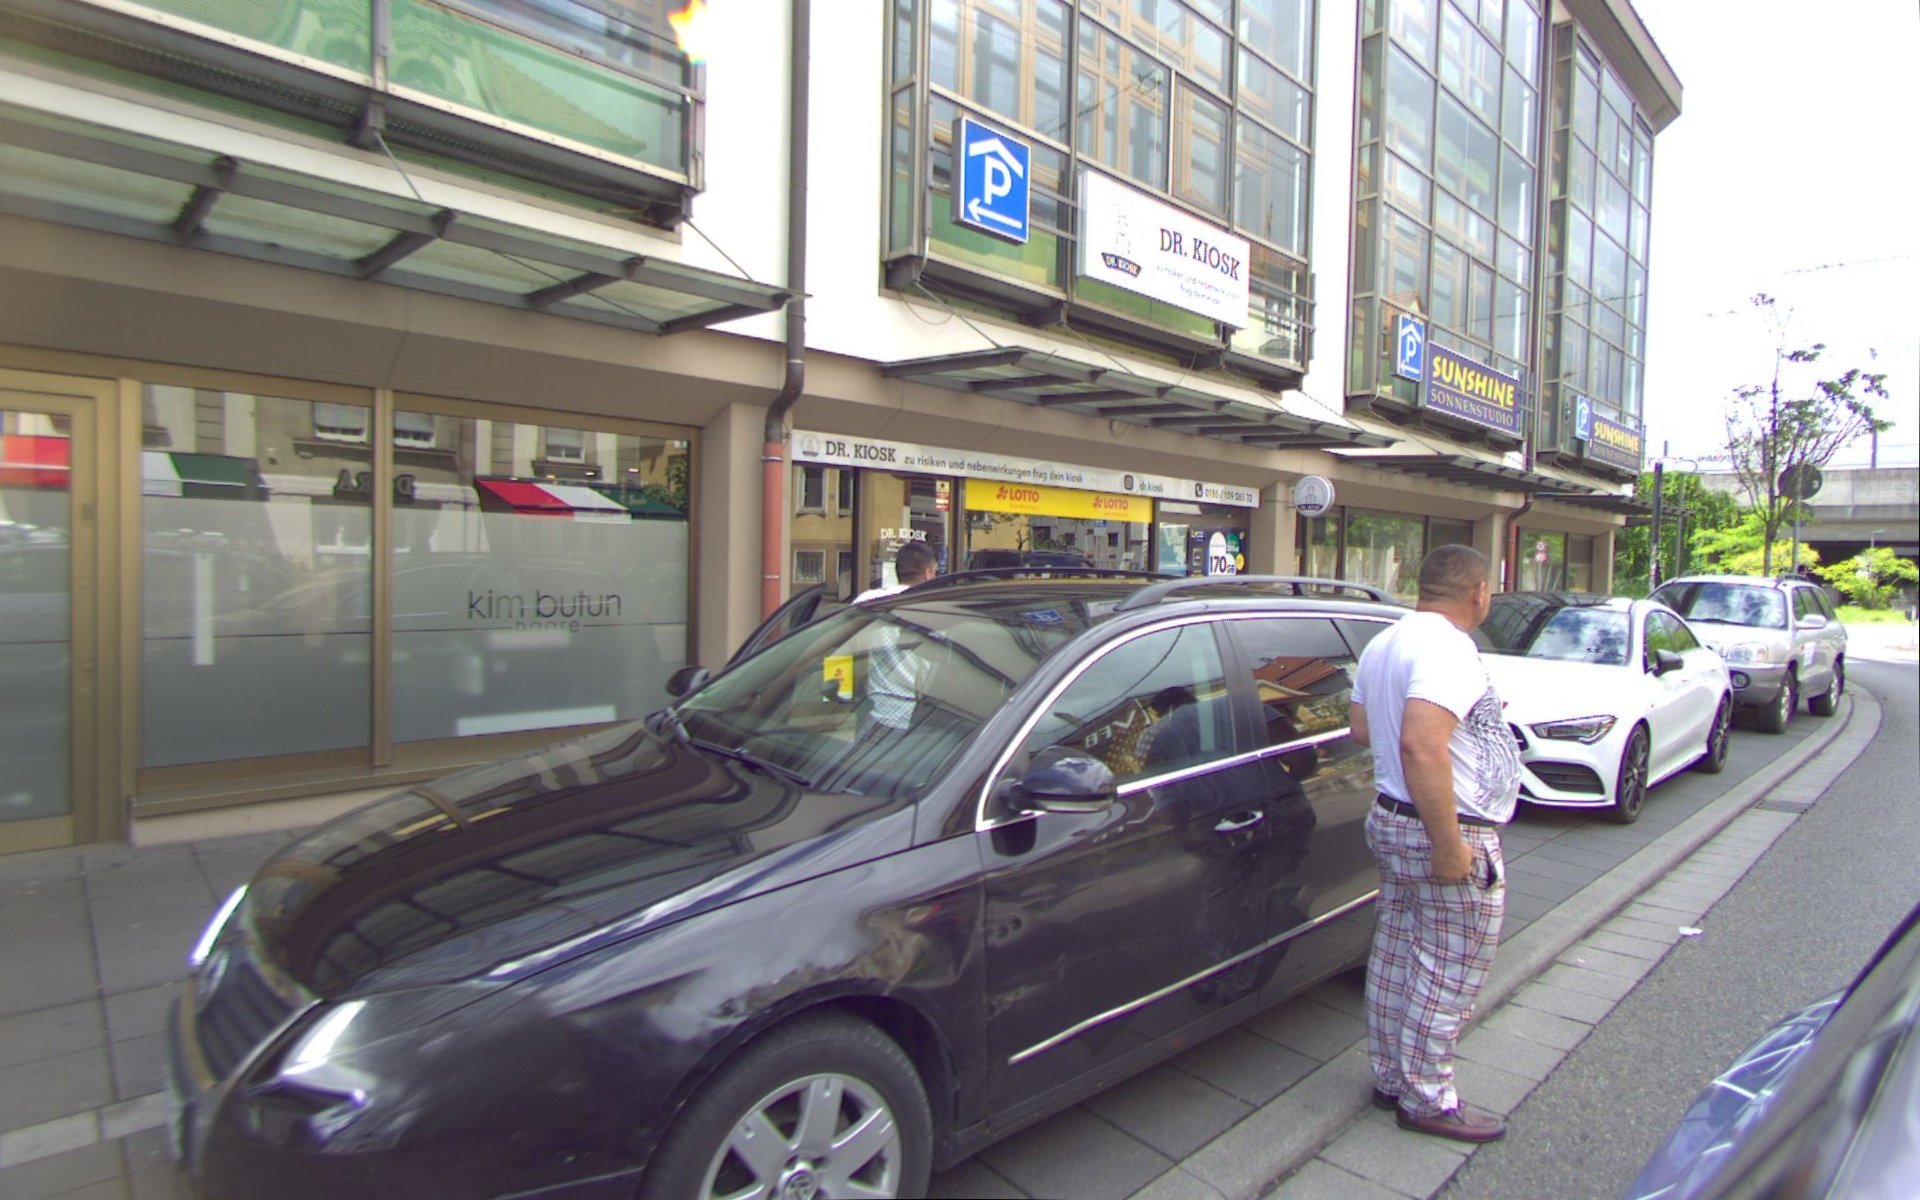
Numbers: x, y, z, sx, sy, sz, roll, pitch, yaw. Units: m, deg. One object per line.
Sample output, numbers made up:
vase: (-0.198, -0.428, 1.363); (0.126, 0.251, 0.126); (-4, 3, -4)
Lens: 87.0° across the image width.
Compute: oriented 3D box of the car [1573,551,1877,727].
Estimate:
car: (9.195, 0.337, 12.042); (4.386, 1.681, 1.826); (-1, 4, -39)

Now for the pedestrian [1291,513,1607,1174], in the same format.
pedestrian: (1.348, 0.587, 2.844); (0.537, 1.620, 0.586); (-1, 1, -21)

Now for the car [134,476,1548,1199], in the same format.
car: (0.181, 0.544, 3.347); (4.473, 1.472, 1.718); (-1, 2, -42)

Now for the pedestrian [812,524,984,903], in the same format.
pedestrian: (-0.292, 0.467, 4.622); (0.469, 1.581, 0.660); (-1, 1, -41)

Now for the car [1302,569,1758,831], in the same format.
car: (4.645, 0.522, 7.911); (4.459, 1.463, 1.854); (-1, 2, -43)
